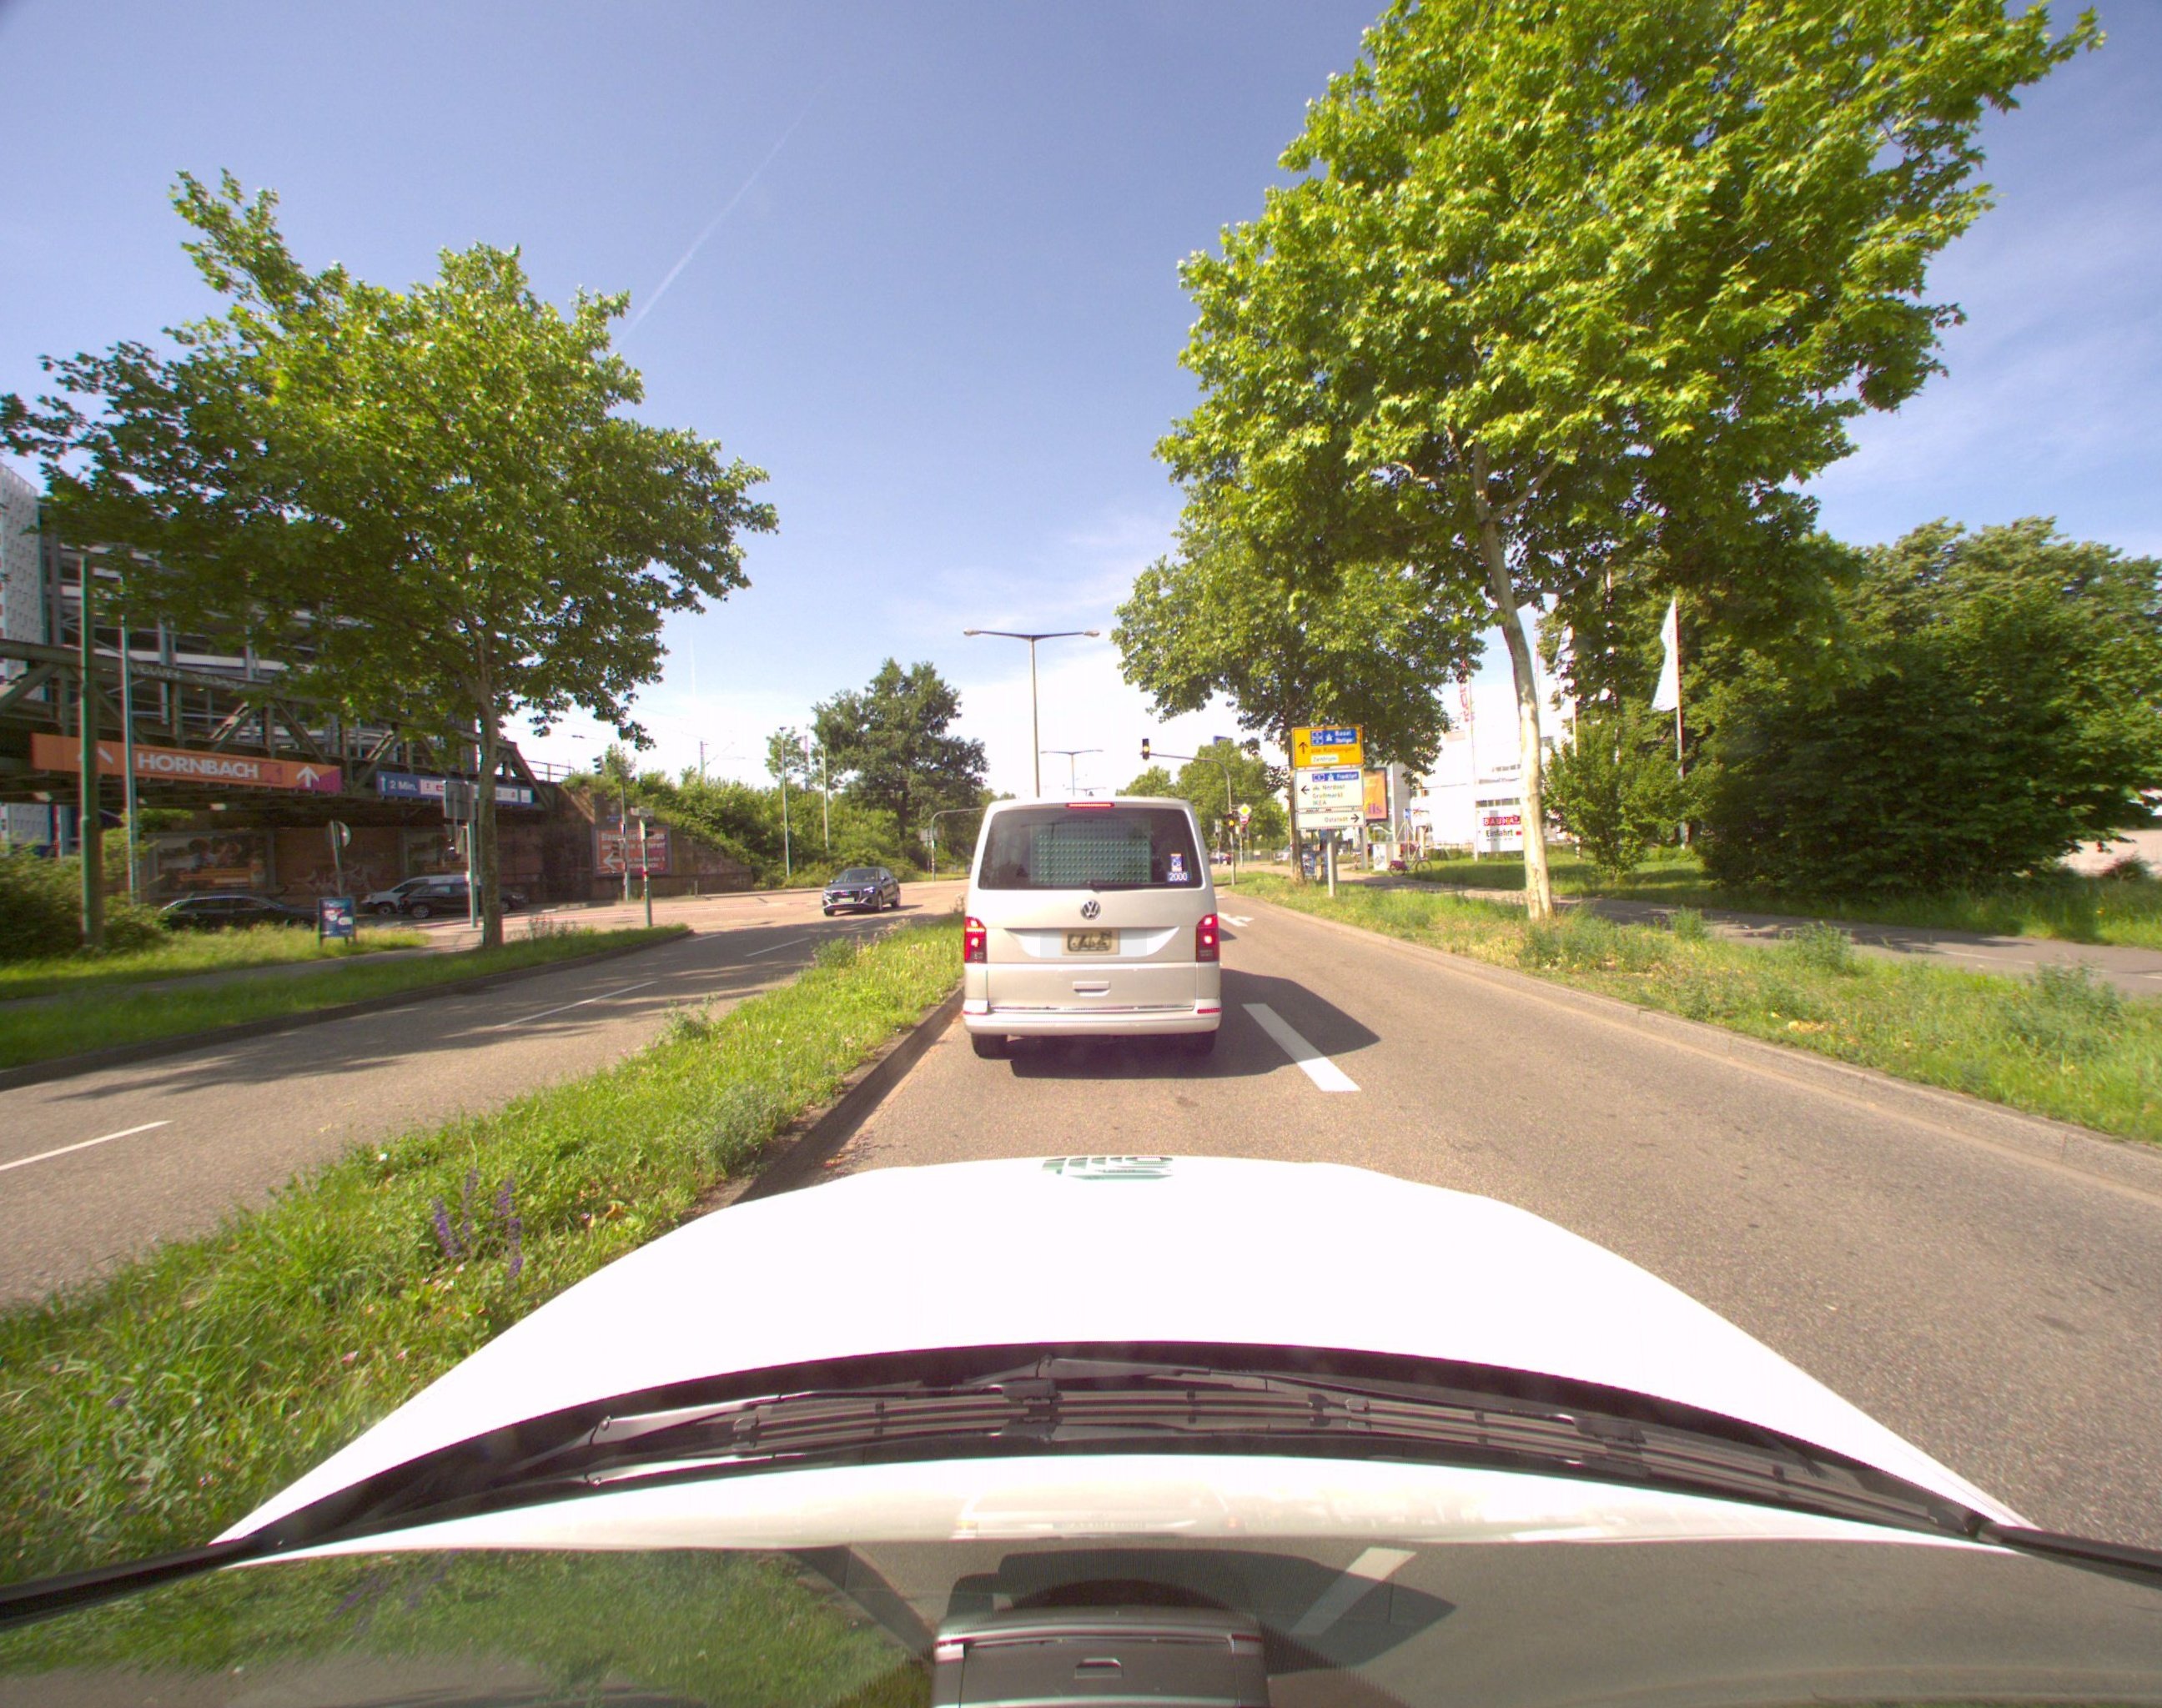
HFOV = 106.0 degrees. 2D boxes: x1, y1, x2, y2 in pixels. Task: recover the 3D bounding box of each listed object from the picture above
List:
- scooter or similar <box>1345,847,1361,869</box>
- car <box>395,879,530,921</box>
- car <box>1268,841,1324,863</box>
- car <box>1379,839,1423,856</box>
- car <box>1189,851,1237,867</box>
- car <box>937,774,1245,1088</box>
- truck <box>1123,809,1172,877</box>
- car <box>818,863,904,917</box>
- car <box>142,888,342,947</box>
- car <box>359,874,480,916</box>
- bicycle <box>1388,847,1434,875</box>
[{"bbox_3d":[14.115,0.218,42.219,0.423,1.126,1.124,-3,0,1],"label":"scooter or similar"},{"bbox_3d":[-25.678,1.884,34.021,4.353,1.395,1.752,-3,0,-35],"label":"car"},{"bbox_3d":[18.117,-0.184,68.526,4.646,1.689,1.895,-3,0,-35],"label":"car"},{"bbox_3d":[32.003,-0.674,81.472,4.646,1.444,1.762,-3,0,-35],"label":"car"},{"bbox_3d":[13.988,0.505,86.462,4.566,1.444,1.793,-3,0,32],"label":"car"},{"bbox_3d":[0.144,0.506,7.774,1.934,1.971,5.024,-2,0,2],"label":"car"},{"bbox_3d":[4.192,-0.667,52.987,2.543,3.957,8.977,-2,0,2],"label":"truck"},{"bbox_3d":[-7.280,1.147,27.345,1.859,1.467,3.934,-4,1,-3],"label":"car"},{"bbox_3d":[-25.552,1.881,25.015,3.959,1.481,1.804,-1,-1,-34],"label":"car"},{"bbox_3d":[-29.979,1.808,37.094,4.113,1.649,1.752,-2,-1,-35],"label":"car"},{"bbox_3d":[14.200,0.300,35.080,1.771,1.108,0.506,-4,-1,20],"label":"bicycle"}]
